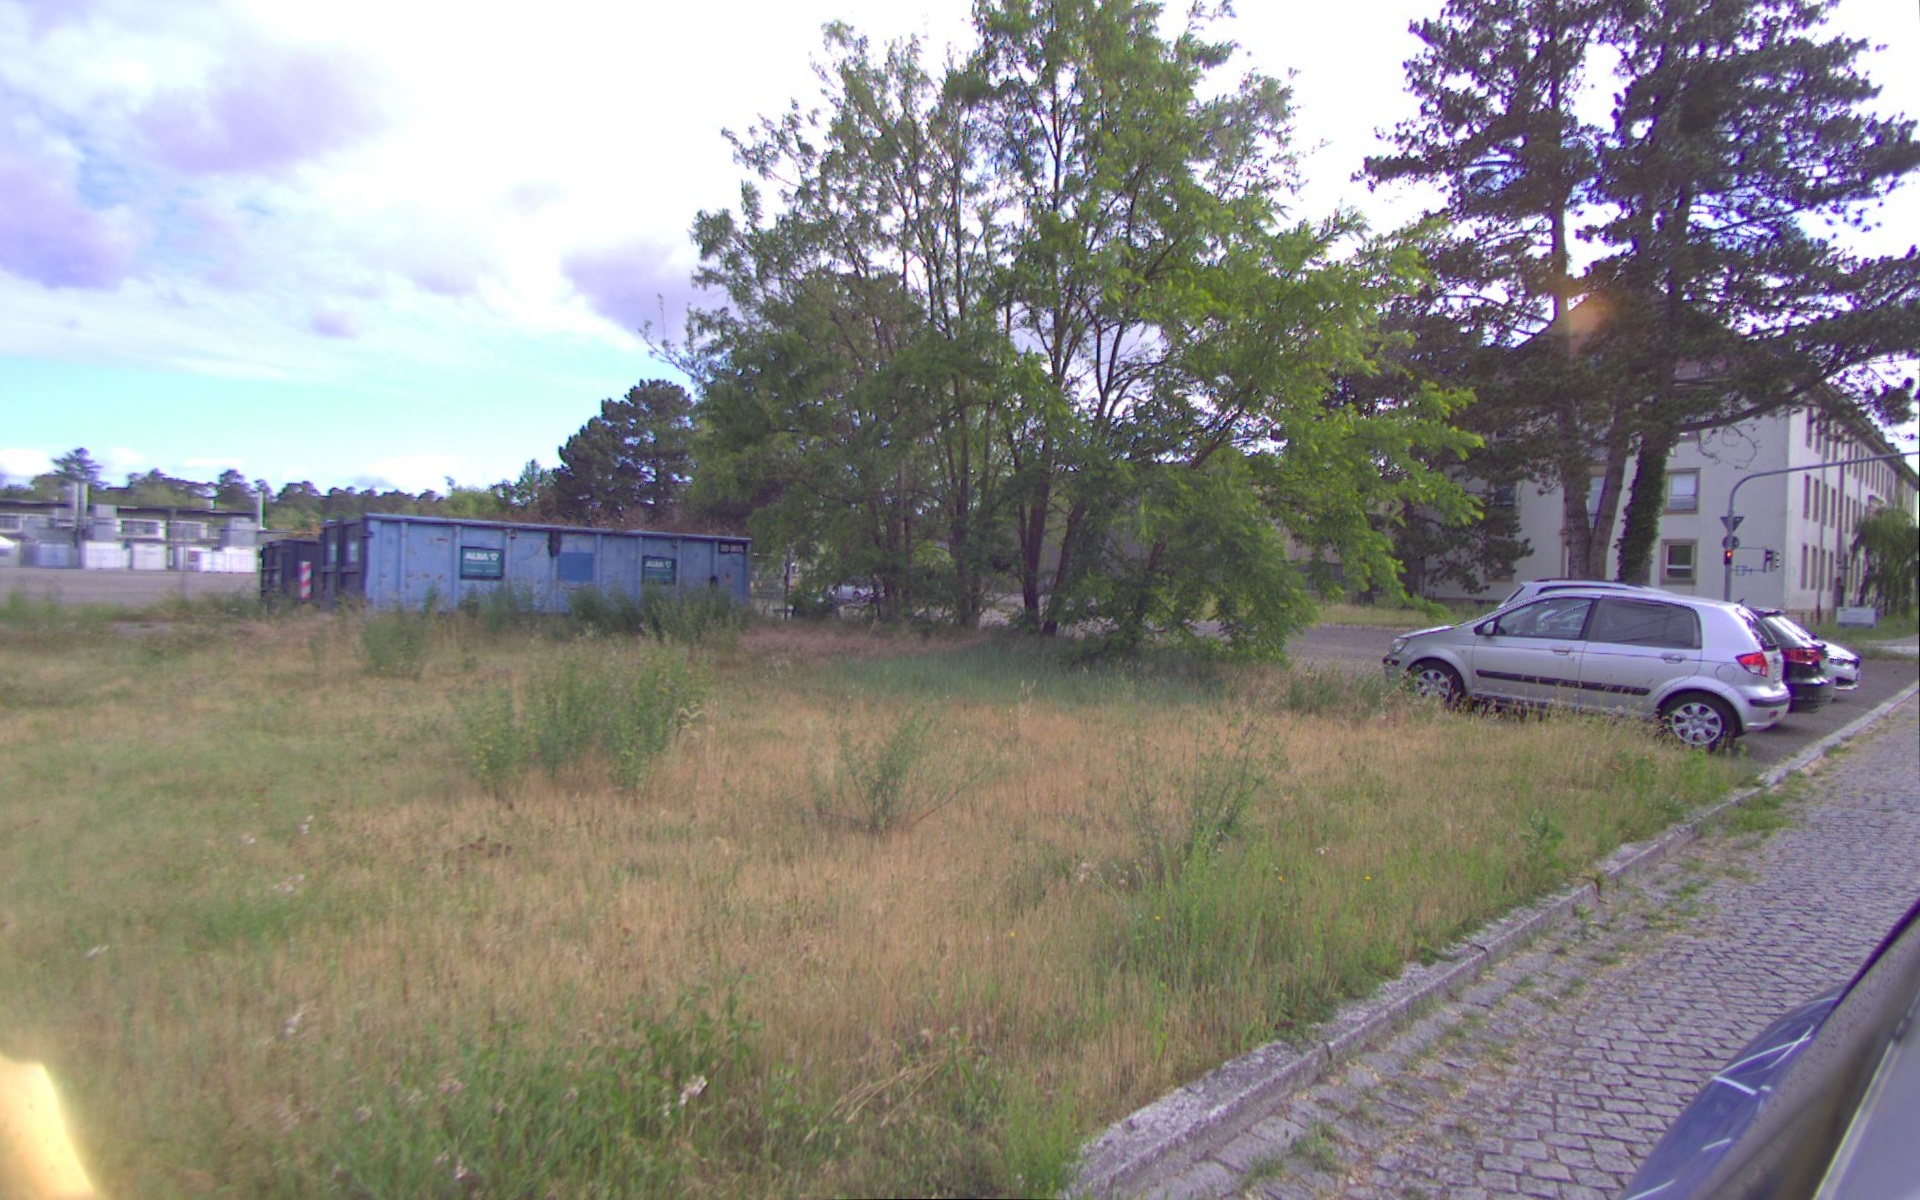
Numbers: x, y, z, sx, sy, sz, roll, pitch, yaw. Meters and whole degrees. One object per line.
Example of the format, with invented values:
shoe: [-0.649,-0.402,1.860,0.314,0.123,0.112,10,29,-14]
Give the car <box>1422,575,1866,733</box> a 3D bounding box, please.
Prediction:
car: [8.555,0.552,12.980,1.766,1.423,4.374,2,3,-43]

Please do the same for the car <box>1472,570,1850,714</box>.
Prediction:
car: [10.260,0.485,15.042,4.331,1.593,1.798,6,5,43]

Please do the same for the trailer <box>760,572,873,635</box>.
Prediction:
trailer: [-2.889,0.049,20.235,1.125,1.184,2.315,-1,1,-43]

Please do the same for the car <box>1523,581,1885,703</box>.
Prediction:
car: [12.131,0.565,16.748,1.797,1.442,4.555,0,5,-44]

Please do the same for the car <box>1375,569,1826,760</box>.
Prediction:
car: [6.777,0.550,10.982,1.714,1.497,3.777,1,3,-44]
